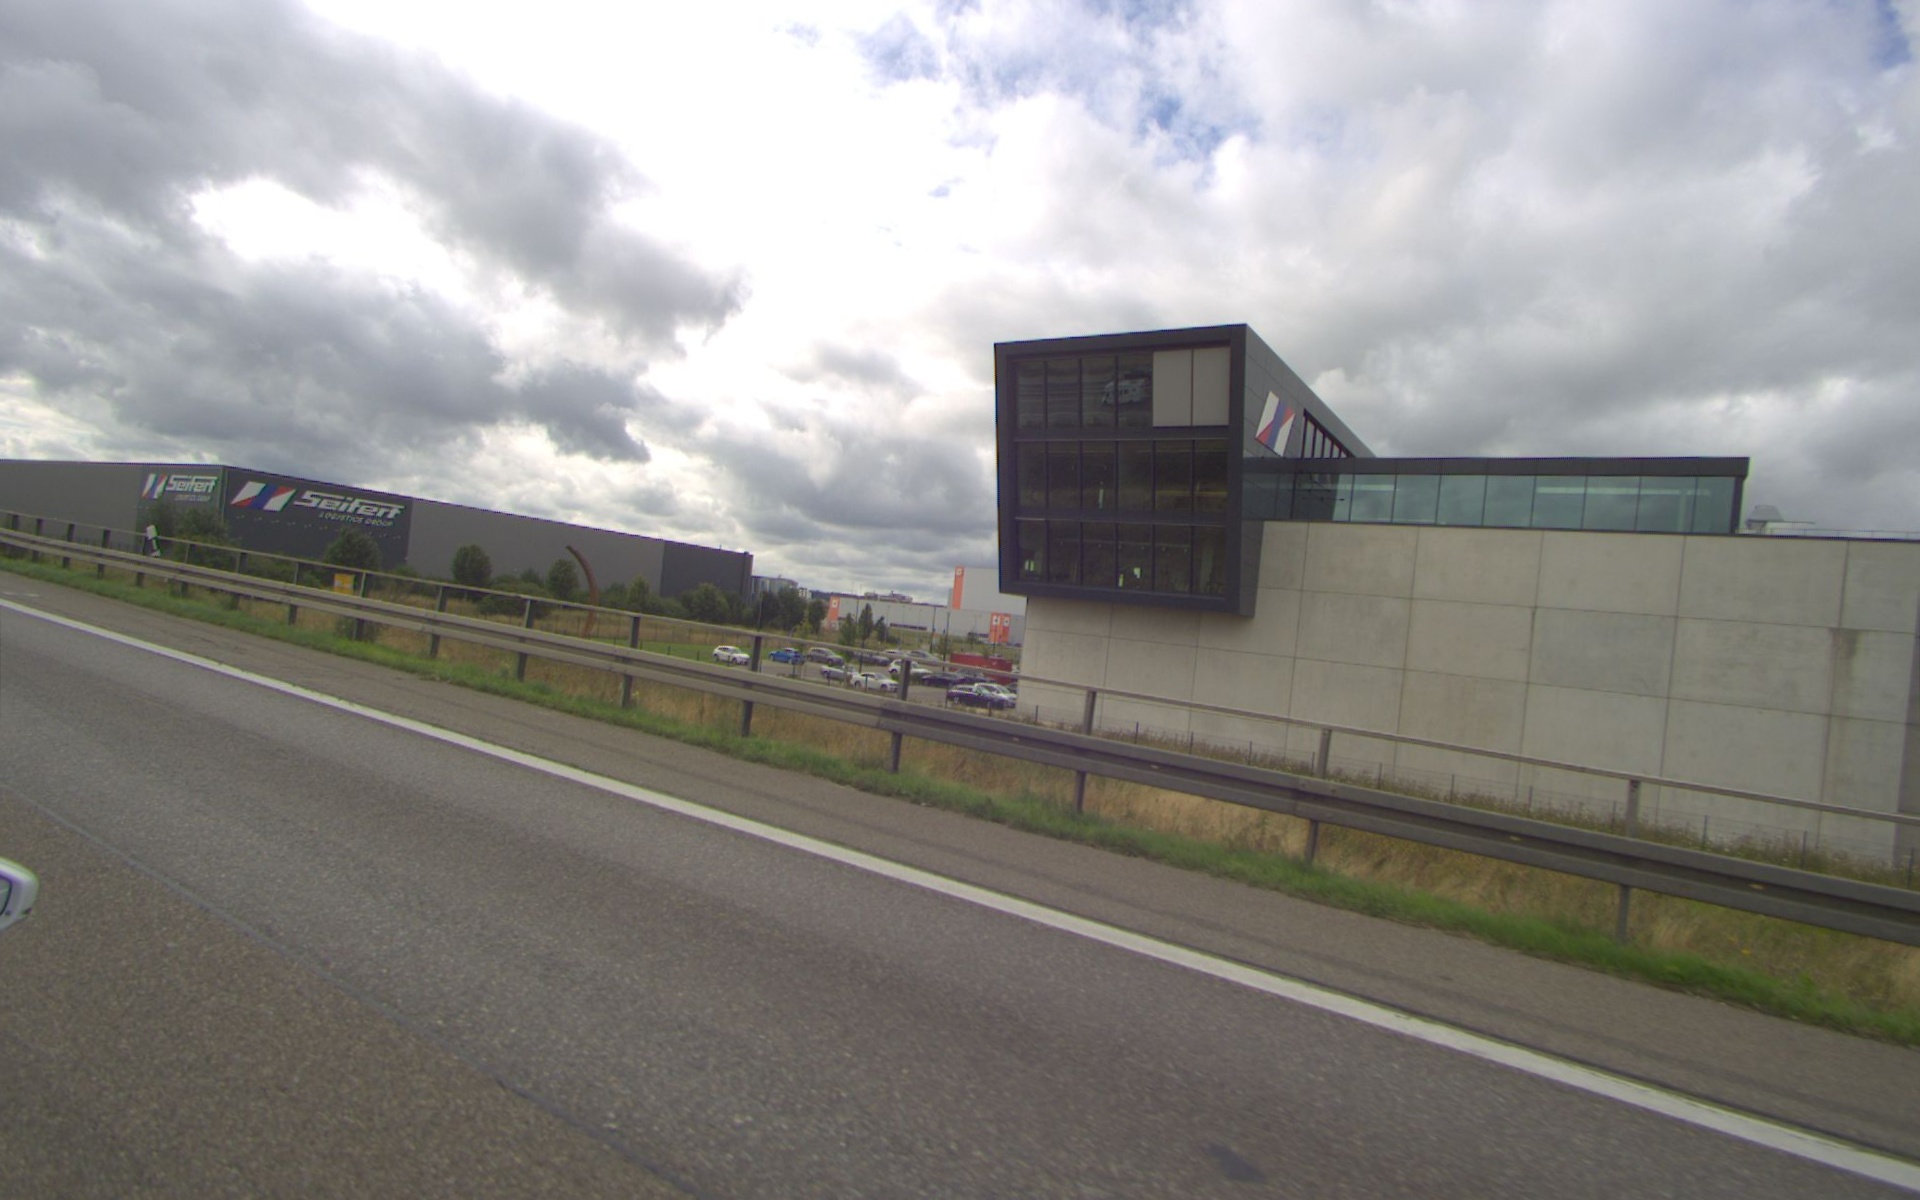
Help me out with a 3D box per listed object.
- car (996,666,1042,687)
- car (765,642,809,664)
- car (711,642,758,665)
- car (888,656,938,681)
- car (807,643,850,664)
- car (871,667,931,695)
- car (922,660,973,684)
[{"bbox_3d":[6.024,7.775,102.847,4.186,1.512,1.678,7,-2,32],"label":"car"},{"bbox_3d":[-16.761,5.142,97.559,3.934,1.512,1.678,7,-2,32],"label":"car"},{"bbox_3d":[-20.435,4.817,91.010,3.934,1.512,1.678,7,-2,32],"label":"car"},{"bbox_3d":[-4.452,6.497,95.291,4.395,1.721,1.678,7,-2,32],"label":"car"},{"bbox_3d":[-13.214,5.399,101.178,3.934,1.512,1.678,7,-2,32],"label":"car"},{"bbox_3d":[-4.710,6.457,80.414,4.488,1.512,1.678,7,-2,32],"label":"car"},{"bbox_3d":[-1.136,6.442,90.015,4.186,1.512,1.678,7,-2,32],"label":"car"}]
